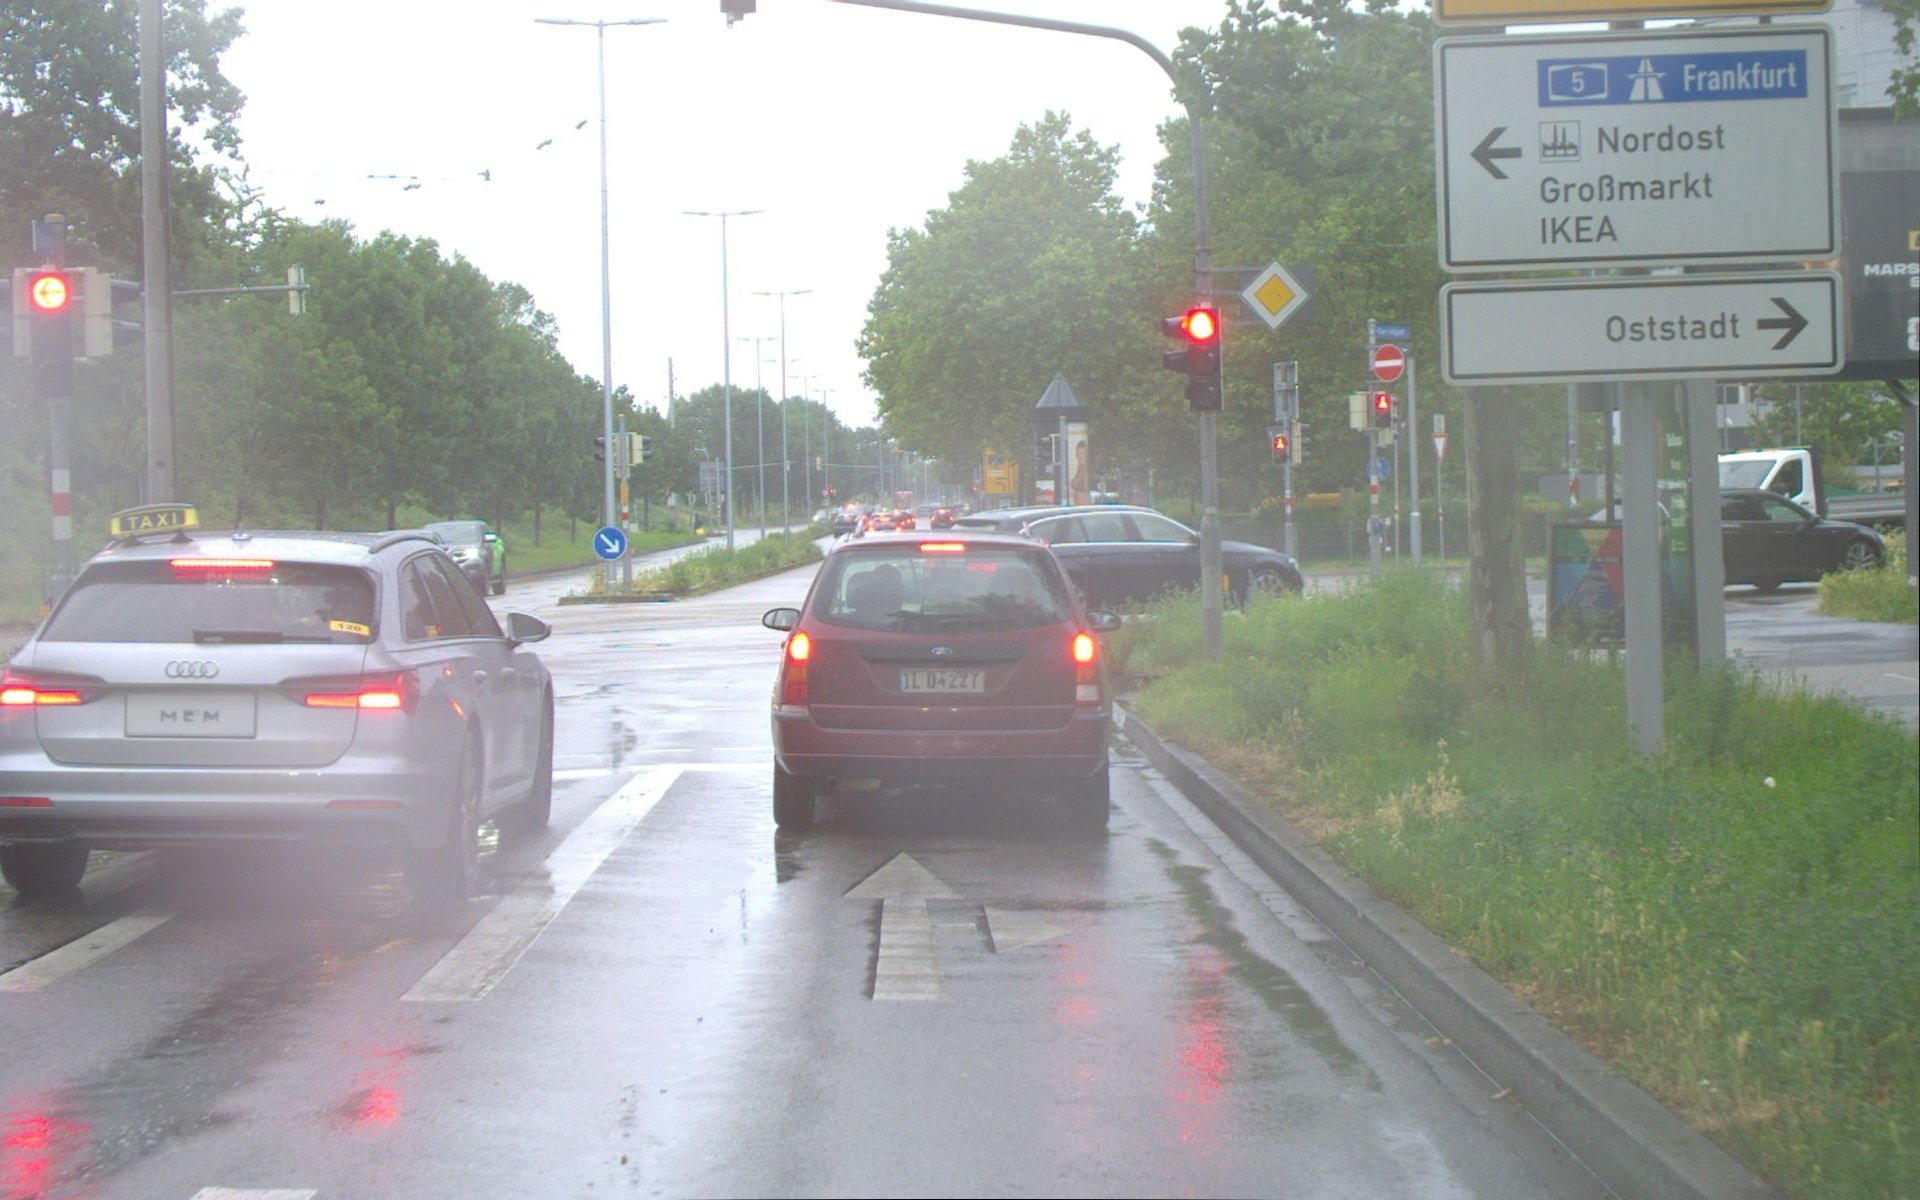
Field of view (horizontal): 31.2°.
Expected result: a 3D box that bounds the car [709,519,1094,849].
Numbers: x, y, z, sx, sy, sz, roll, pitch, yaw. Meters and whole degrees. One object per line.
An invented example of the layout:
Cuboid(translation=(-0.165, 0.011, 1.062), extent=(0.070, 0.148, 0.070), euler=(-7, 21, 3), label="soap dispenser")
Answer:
Cuboid(translation=(-0.300, 0.352, 18.356), extent=(1.796, 1.532, 4.387), euler=(1, 1, -1), label="car")

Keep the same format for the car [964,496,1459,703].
Cuboid(translation=(2.316, -0.063, 30.863), extent=(4.375, 1.531, 1.801), euler=(-5, 4, -40), label="car")

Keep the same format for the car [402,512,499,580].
Cuboid(translation=(-11.972, -1.285, 80.959), extent=(1.712, 1.525, 4.000), euler=(-1, 1, -1), label="car")

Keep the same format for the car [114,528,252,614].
Cuboid(translation=(-14.690, -0.573, 65.135), extent=(1.712, 1.525, 4.000), euler=(-1, 1, -1), label="car")

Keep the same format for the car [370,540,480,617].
Cuboid(translation=(-11.357, -0.480, 73.185), extent=(1.712, 1.525, 4.000), euler=(-1, 1, -1), label="car")

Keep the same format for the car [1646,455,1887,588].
Cuboid(translation=(14.960, -1.465, 63.698), extent=(4.374, 2.183, 1.802), euler=(-5, 3, -35), label="car")

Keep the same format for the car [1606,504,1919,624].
Cuboid(translation=(11.018, -0.510, 46.416), extent=(4.372, 1.532, 1.802), euler=(-1, 1, -29), label="car")

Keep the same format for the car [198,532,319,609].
Cuboid(translation=(-14.592, -0.640, 71.674), extent=(1.712, 1.525, 4.000), euler=(-1, 1, -1), label="car")

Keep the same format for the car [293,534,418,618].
Cuboid(translation=(-11.632, -0.488, 66.356), extent=(1.712, 1.525, 4.000), euler=(-1, 1, -1), label="car")

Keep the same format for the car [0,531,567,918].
Cuboid(translation=(-2.805, 0.416, 15.045), extent=(1.690, 1.428, 4.574), euler=(0, 1, -1), label="car")
